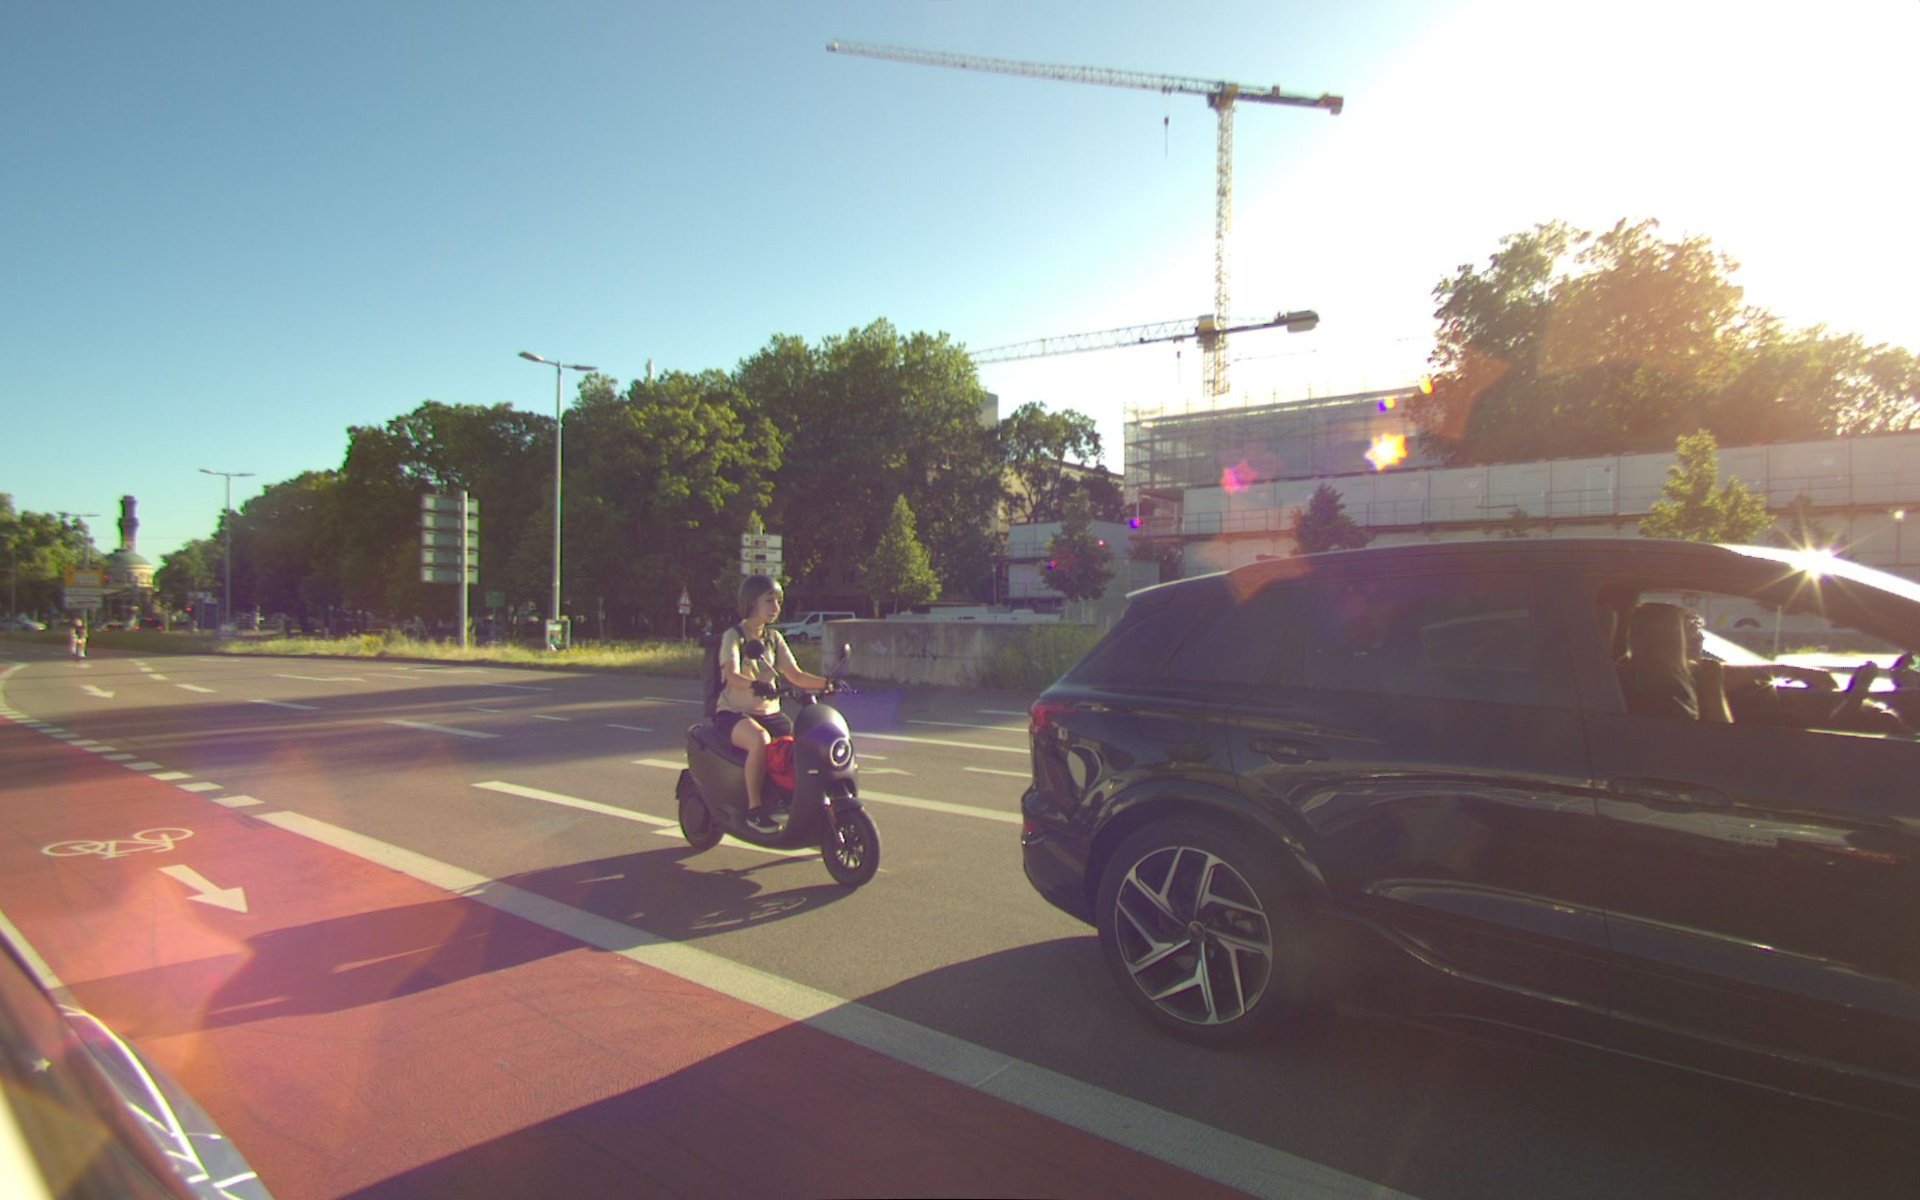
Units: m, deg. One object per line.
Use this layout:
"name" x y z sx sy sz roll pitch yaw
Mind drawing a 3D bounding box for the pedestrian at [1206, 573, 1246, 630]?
"pedestrian" 9.688 0.066 36.839 1.135 2.029 0.930 -1 0 35

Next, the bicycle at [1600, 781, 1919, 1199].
"bicycle" 1.294 0.791 0.263 1.829 1.227 0.610 -2 -1 39

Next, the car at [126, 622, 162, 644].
"car" -71.476 2.843 88.637 3.998 1.841 1.796 -1 0 41

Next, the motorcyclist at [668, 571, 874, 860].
"motorcyclist" -1.080 0.598 5.768 0.917 1.485 0.717 -2 -1 41

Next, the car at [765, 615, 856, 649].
"car" -9.064 1.923 61.842 2.065 1.950 5.443 -1 -2 42

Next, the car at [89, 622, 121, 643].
"car" -79.874 3.024 94.527 3.945 1.802 1.725 -1 0 41

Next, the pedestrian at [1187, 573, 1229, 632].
"pedestrian" 8.652 0.080 35.292 1.135 2.029 0.930 -1 0 35

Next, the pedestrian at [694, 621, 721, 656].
"pedestrian" -13.669 2.083 54.718 1.018 1.845 0.977 -1 0 38

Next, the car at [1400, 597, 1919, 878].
"car" 4.973 0.757 6.544 3.603 1.497 1.477 -2 -1 41

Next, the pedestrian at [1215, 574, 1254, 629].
"pedestrian" 10.210 0.059 37.649 1.135 2.029 0.930 -1 0 35

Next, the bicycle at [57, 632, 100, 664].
"bicycle" -32.891 1.764 37.752 2.806 1.124 0.843 -2 -1 41

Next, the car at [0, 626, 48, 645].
"car" -101.472 3.822 109.065 4.513 1.851 1.881 -1 0 -7

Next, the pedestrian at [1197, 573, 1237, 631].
"pedestrian" 9.168 0.073 36.076 1.135 2.029 0.930 -1 0 35

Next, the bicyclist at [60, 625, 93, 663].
"bicyclist" -33.072 1.632 37.879 0.829 1.358 0.843 -2 -1 41

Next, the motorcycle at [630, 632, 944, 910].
"motorcycle" -1.034 0.844 5.727 1.883 1.303 0.715 -2 -1 41

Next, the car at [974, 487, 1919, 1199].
"car" 2.415 0.579 3.024 4.677 1.647 1.753 -1 0 40
